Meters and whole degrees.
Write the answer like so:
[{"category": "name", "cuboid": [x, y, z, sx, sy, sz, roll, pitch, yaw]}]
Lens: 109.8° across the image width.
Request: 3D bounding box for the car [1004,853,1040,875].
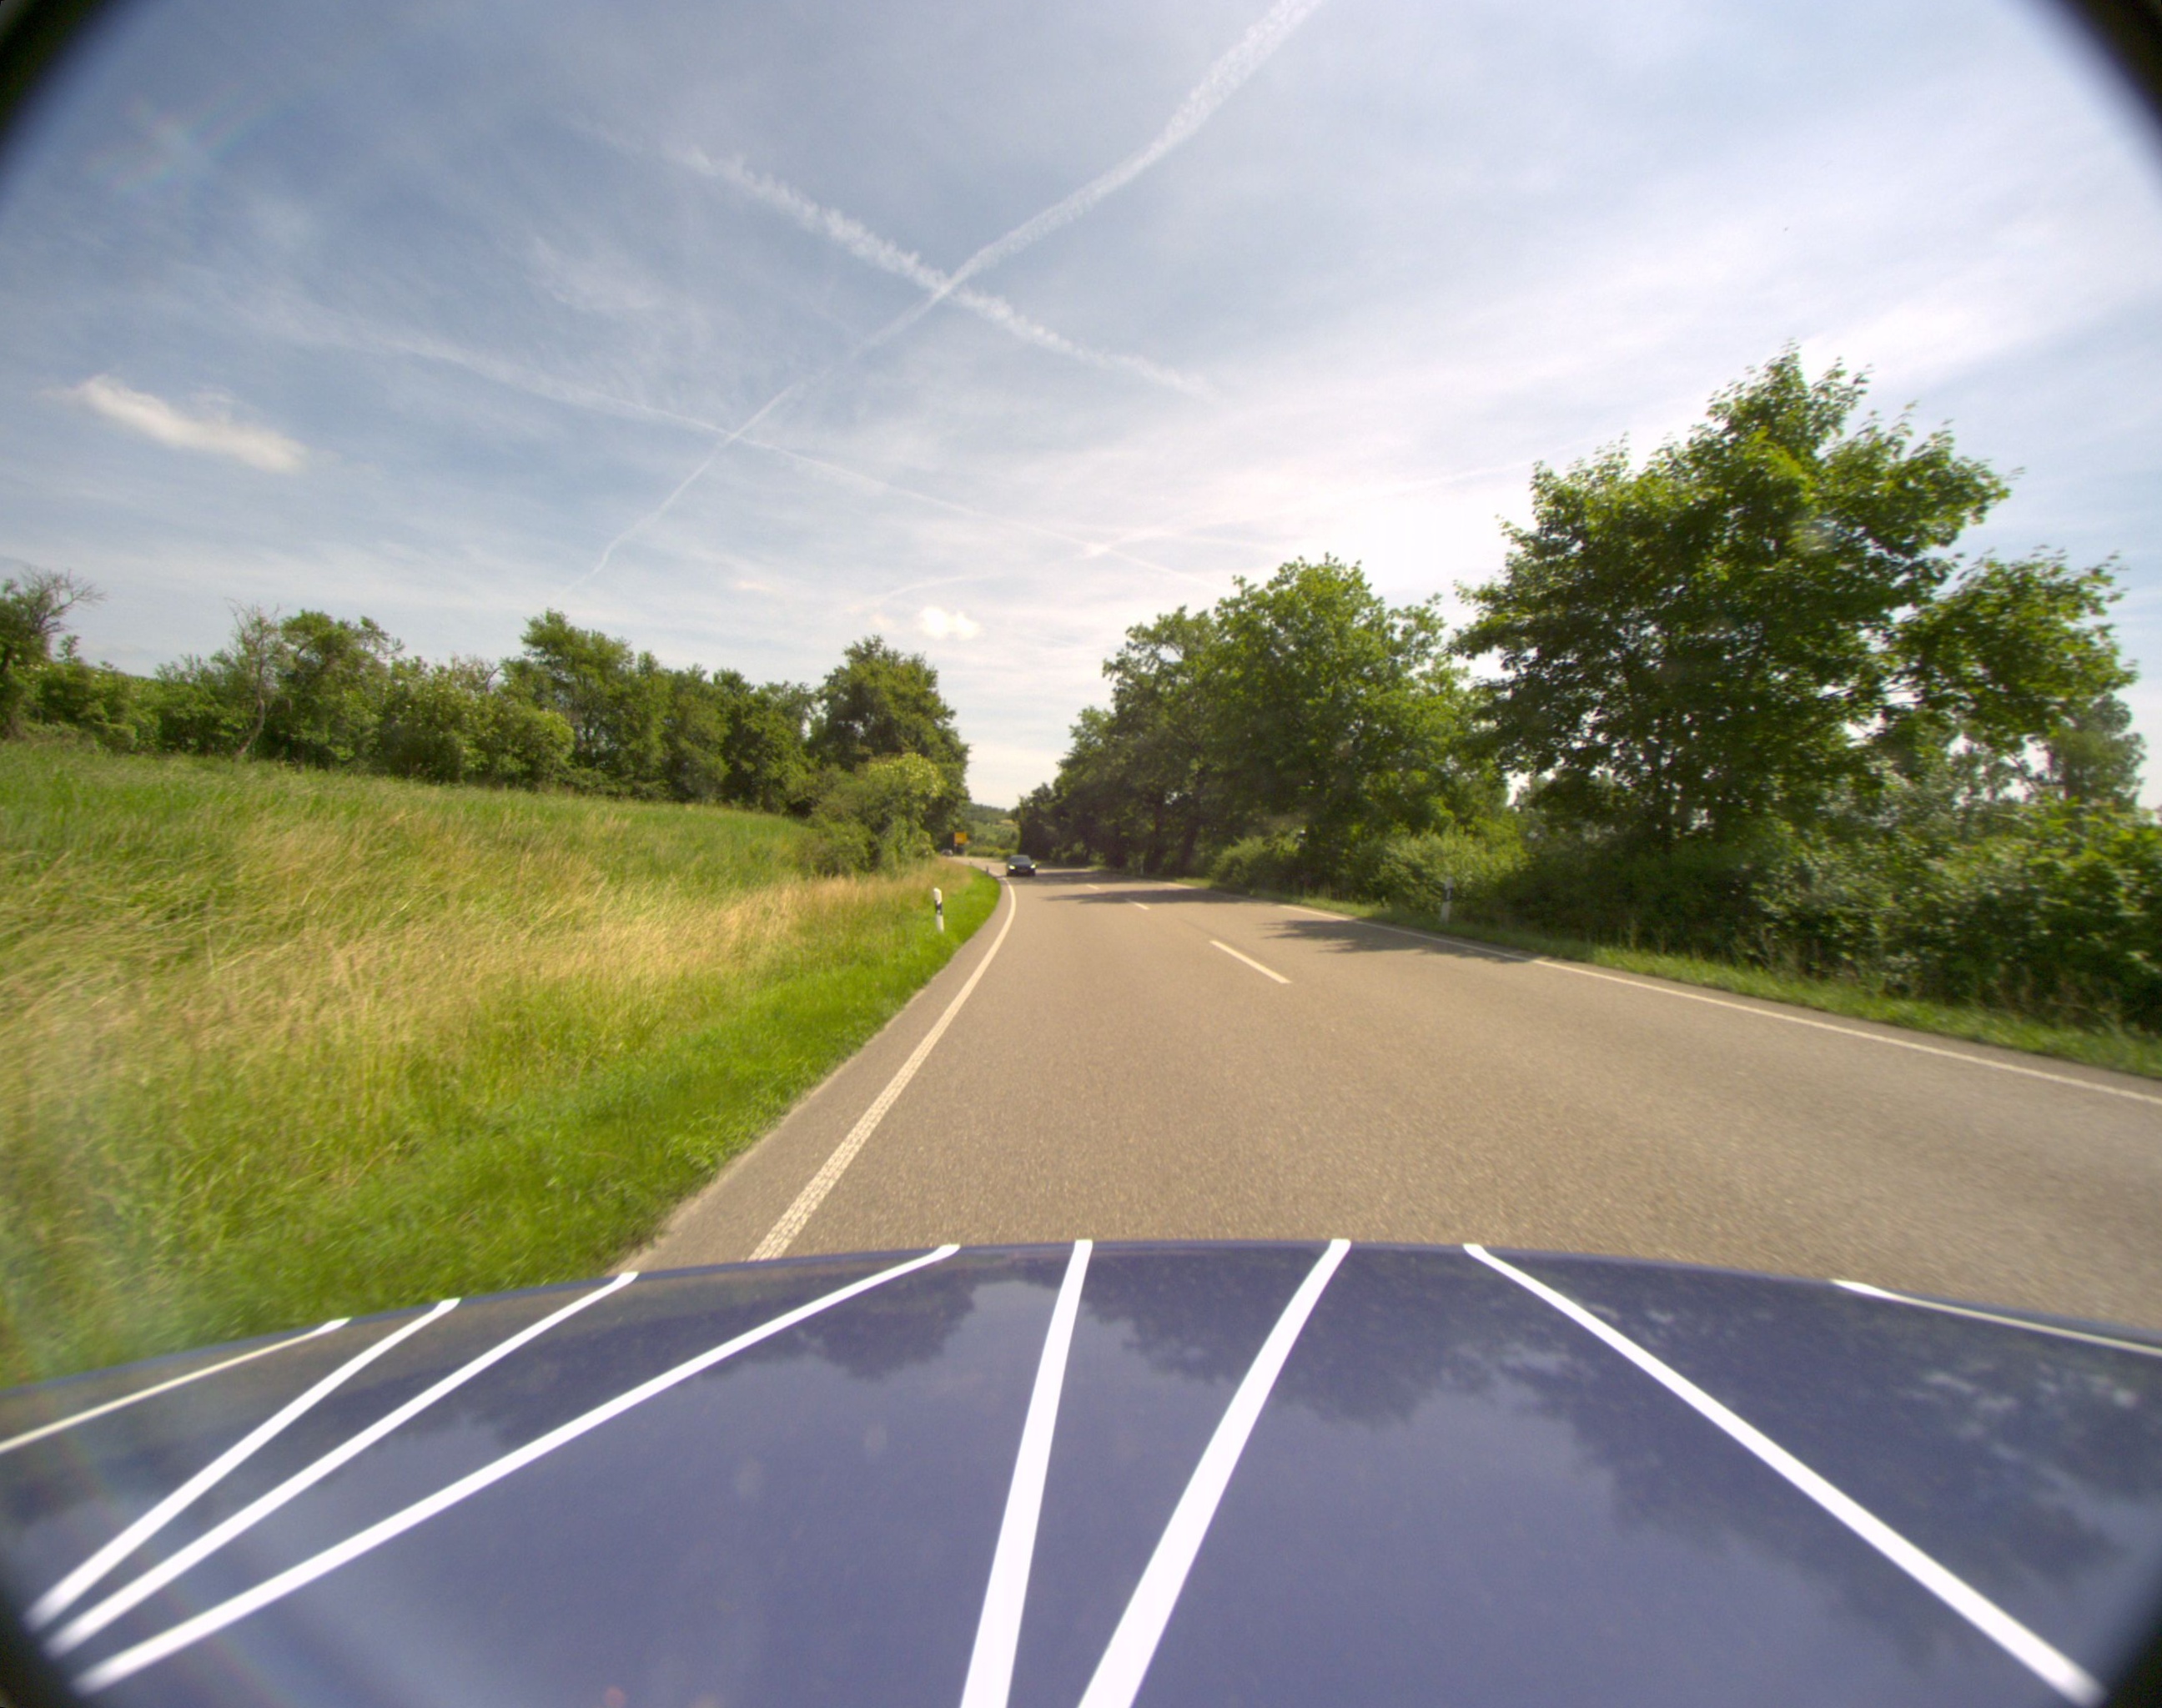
[{"category": "car", "cuboid": [-4.164, 0.677, 52.738, 1.787, 1.440, 4.598, -1, 0, -14]}]
